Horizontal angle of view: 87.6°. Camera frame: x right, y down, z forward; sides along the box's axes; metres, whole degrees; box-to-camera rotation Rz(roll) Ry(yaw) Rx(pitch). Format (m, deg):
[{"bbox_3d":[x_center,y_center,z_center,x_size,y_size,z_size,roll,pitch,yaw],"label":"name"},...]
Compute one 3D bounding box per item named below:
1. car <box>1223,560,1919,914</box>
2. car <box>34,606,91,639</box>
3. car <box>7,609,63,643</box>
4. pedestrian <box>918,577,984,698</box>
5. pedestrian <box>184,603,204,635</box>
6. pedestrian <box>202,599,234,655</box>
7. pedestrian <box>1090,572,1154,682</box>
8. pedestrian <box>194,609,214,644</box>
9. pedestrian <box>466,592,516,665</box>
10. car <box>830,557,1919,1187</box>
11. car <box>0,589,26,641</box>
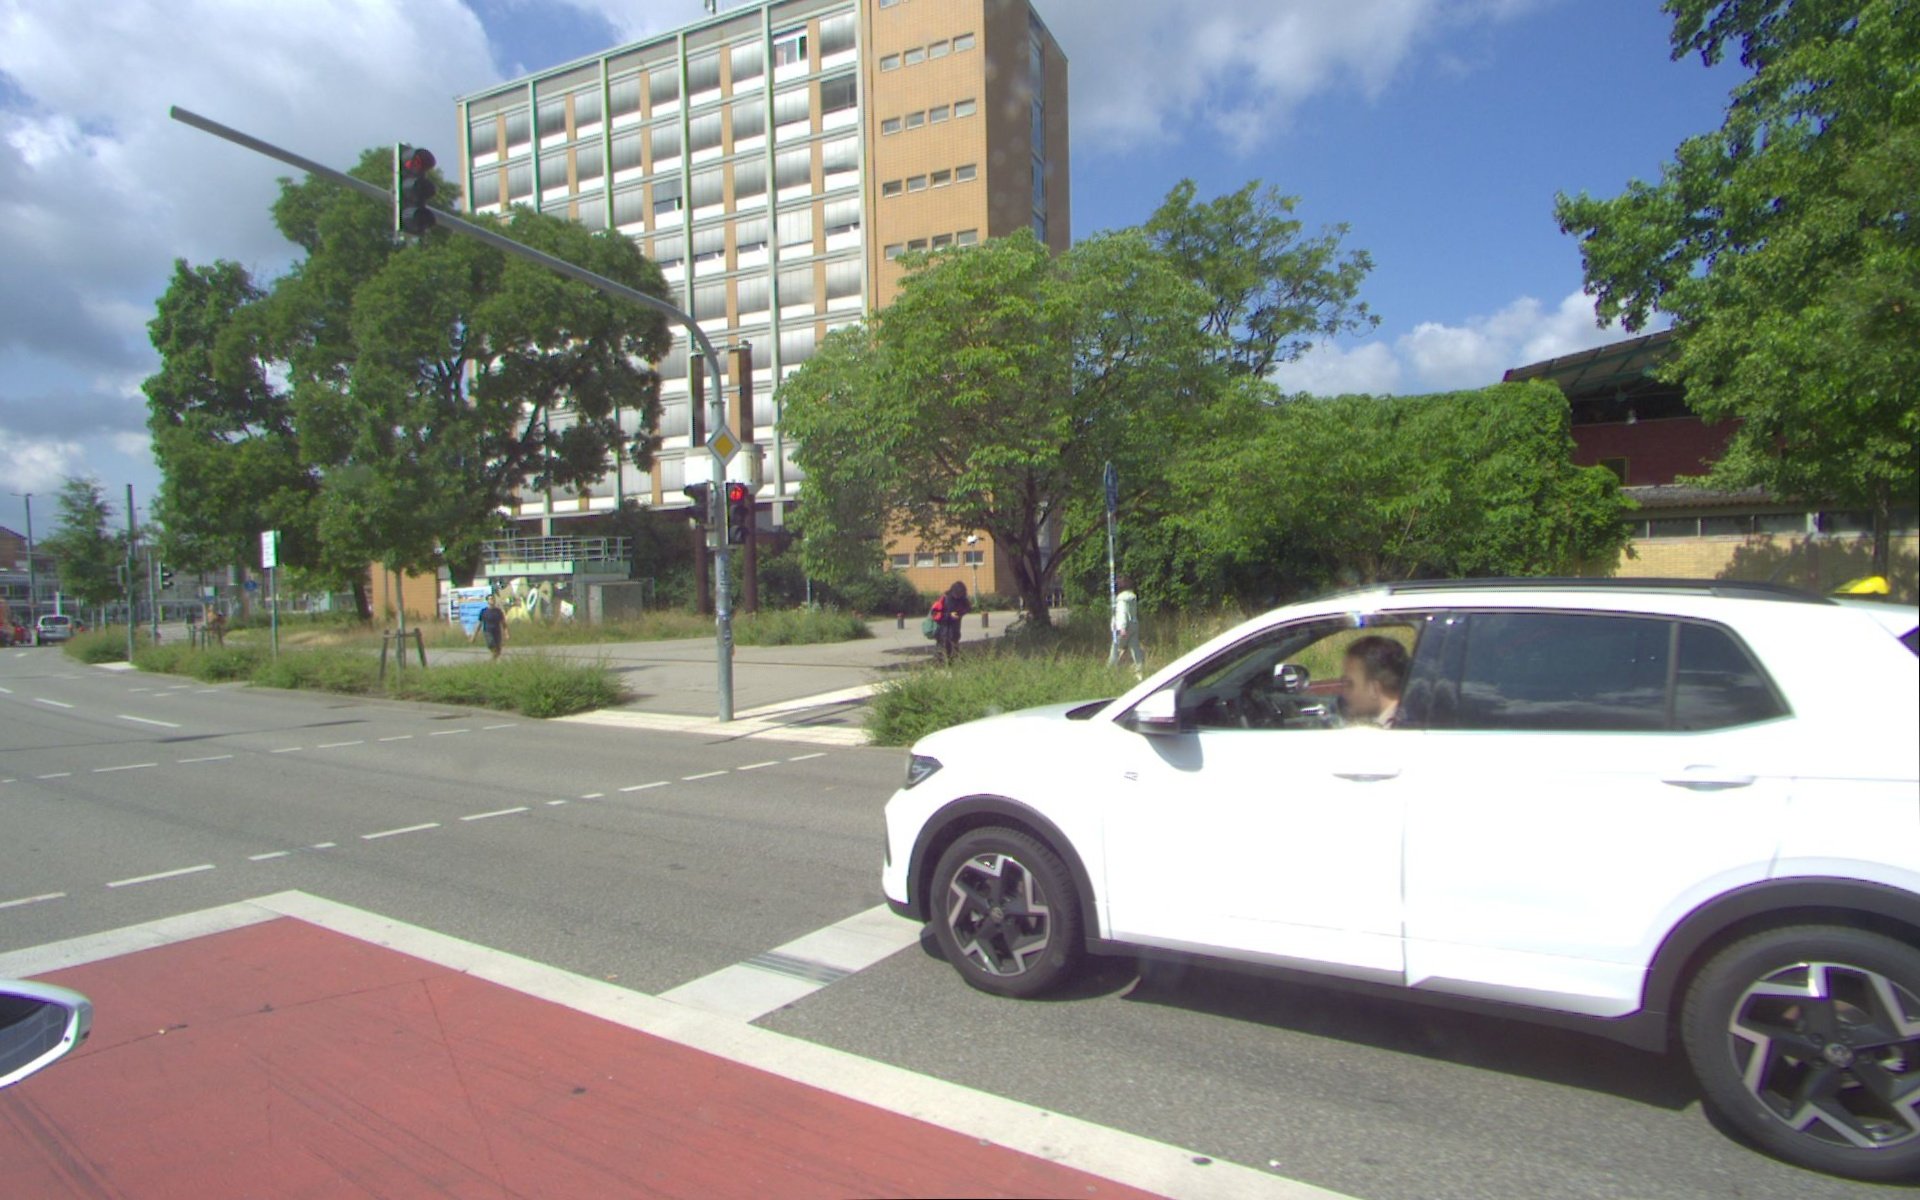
[{"bbox_3d":[3.980,0.650,5.969,4.396,1.663,1.678,0,0,30],"label":"car"},{"bbox_3d":[-53.550,1.303,59.821,1.973,1.819,3.973,-2,1,-34],"label":"car"},{"bbox_3d":[-59.049,1.623,64.011,1.972,1.965,4.605,-2,1,-36],"label":"car"},{"bbox_3d":[-0.128,0.547,15.121,0.669,1.759,0.740,0,1,33],"label":"pedestrian"},{"bbox_3d":[-43.512,1.085,56.893,0.778,1.808,0.664,-2,1,-27],"label":"pedestrian"},{"bbox_3d":[-23.633,0.849,31.894,0.570,1.757,0.657,0,2,37],"label":"pedestrian"},{"bbox_3d":[2.540,0.407,15.661,0.710,1.660,0.866,0,1,31],"label":"pedestrian"},{"bbox_3d":[-40.180,1.402,53.240,0.781,1.808,0.661,-2,1,-39],"label":"pedestrian"},{"bbox_3d":[-9.969,0.590,21.304,0.544,1.528,0.767,0,1,35],"label":"pedestrian"},{"bbox_3d":[1.594,0.699,3.986,3.951,1.559,1.788,0,-1,31],"label":"car"},{"bbox_3d":[-54.527,0.848,56.418,2.110,2.818,4.605,-2,1,-36],"label":"car"}]
